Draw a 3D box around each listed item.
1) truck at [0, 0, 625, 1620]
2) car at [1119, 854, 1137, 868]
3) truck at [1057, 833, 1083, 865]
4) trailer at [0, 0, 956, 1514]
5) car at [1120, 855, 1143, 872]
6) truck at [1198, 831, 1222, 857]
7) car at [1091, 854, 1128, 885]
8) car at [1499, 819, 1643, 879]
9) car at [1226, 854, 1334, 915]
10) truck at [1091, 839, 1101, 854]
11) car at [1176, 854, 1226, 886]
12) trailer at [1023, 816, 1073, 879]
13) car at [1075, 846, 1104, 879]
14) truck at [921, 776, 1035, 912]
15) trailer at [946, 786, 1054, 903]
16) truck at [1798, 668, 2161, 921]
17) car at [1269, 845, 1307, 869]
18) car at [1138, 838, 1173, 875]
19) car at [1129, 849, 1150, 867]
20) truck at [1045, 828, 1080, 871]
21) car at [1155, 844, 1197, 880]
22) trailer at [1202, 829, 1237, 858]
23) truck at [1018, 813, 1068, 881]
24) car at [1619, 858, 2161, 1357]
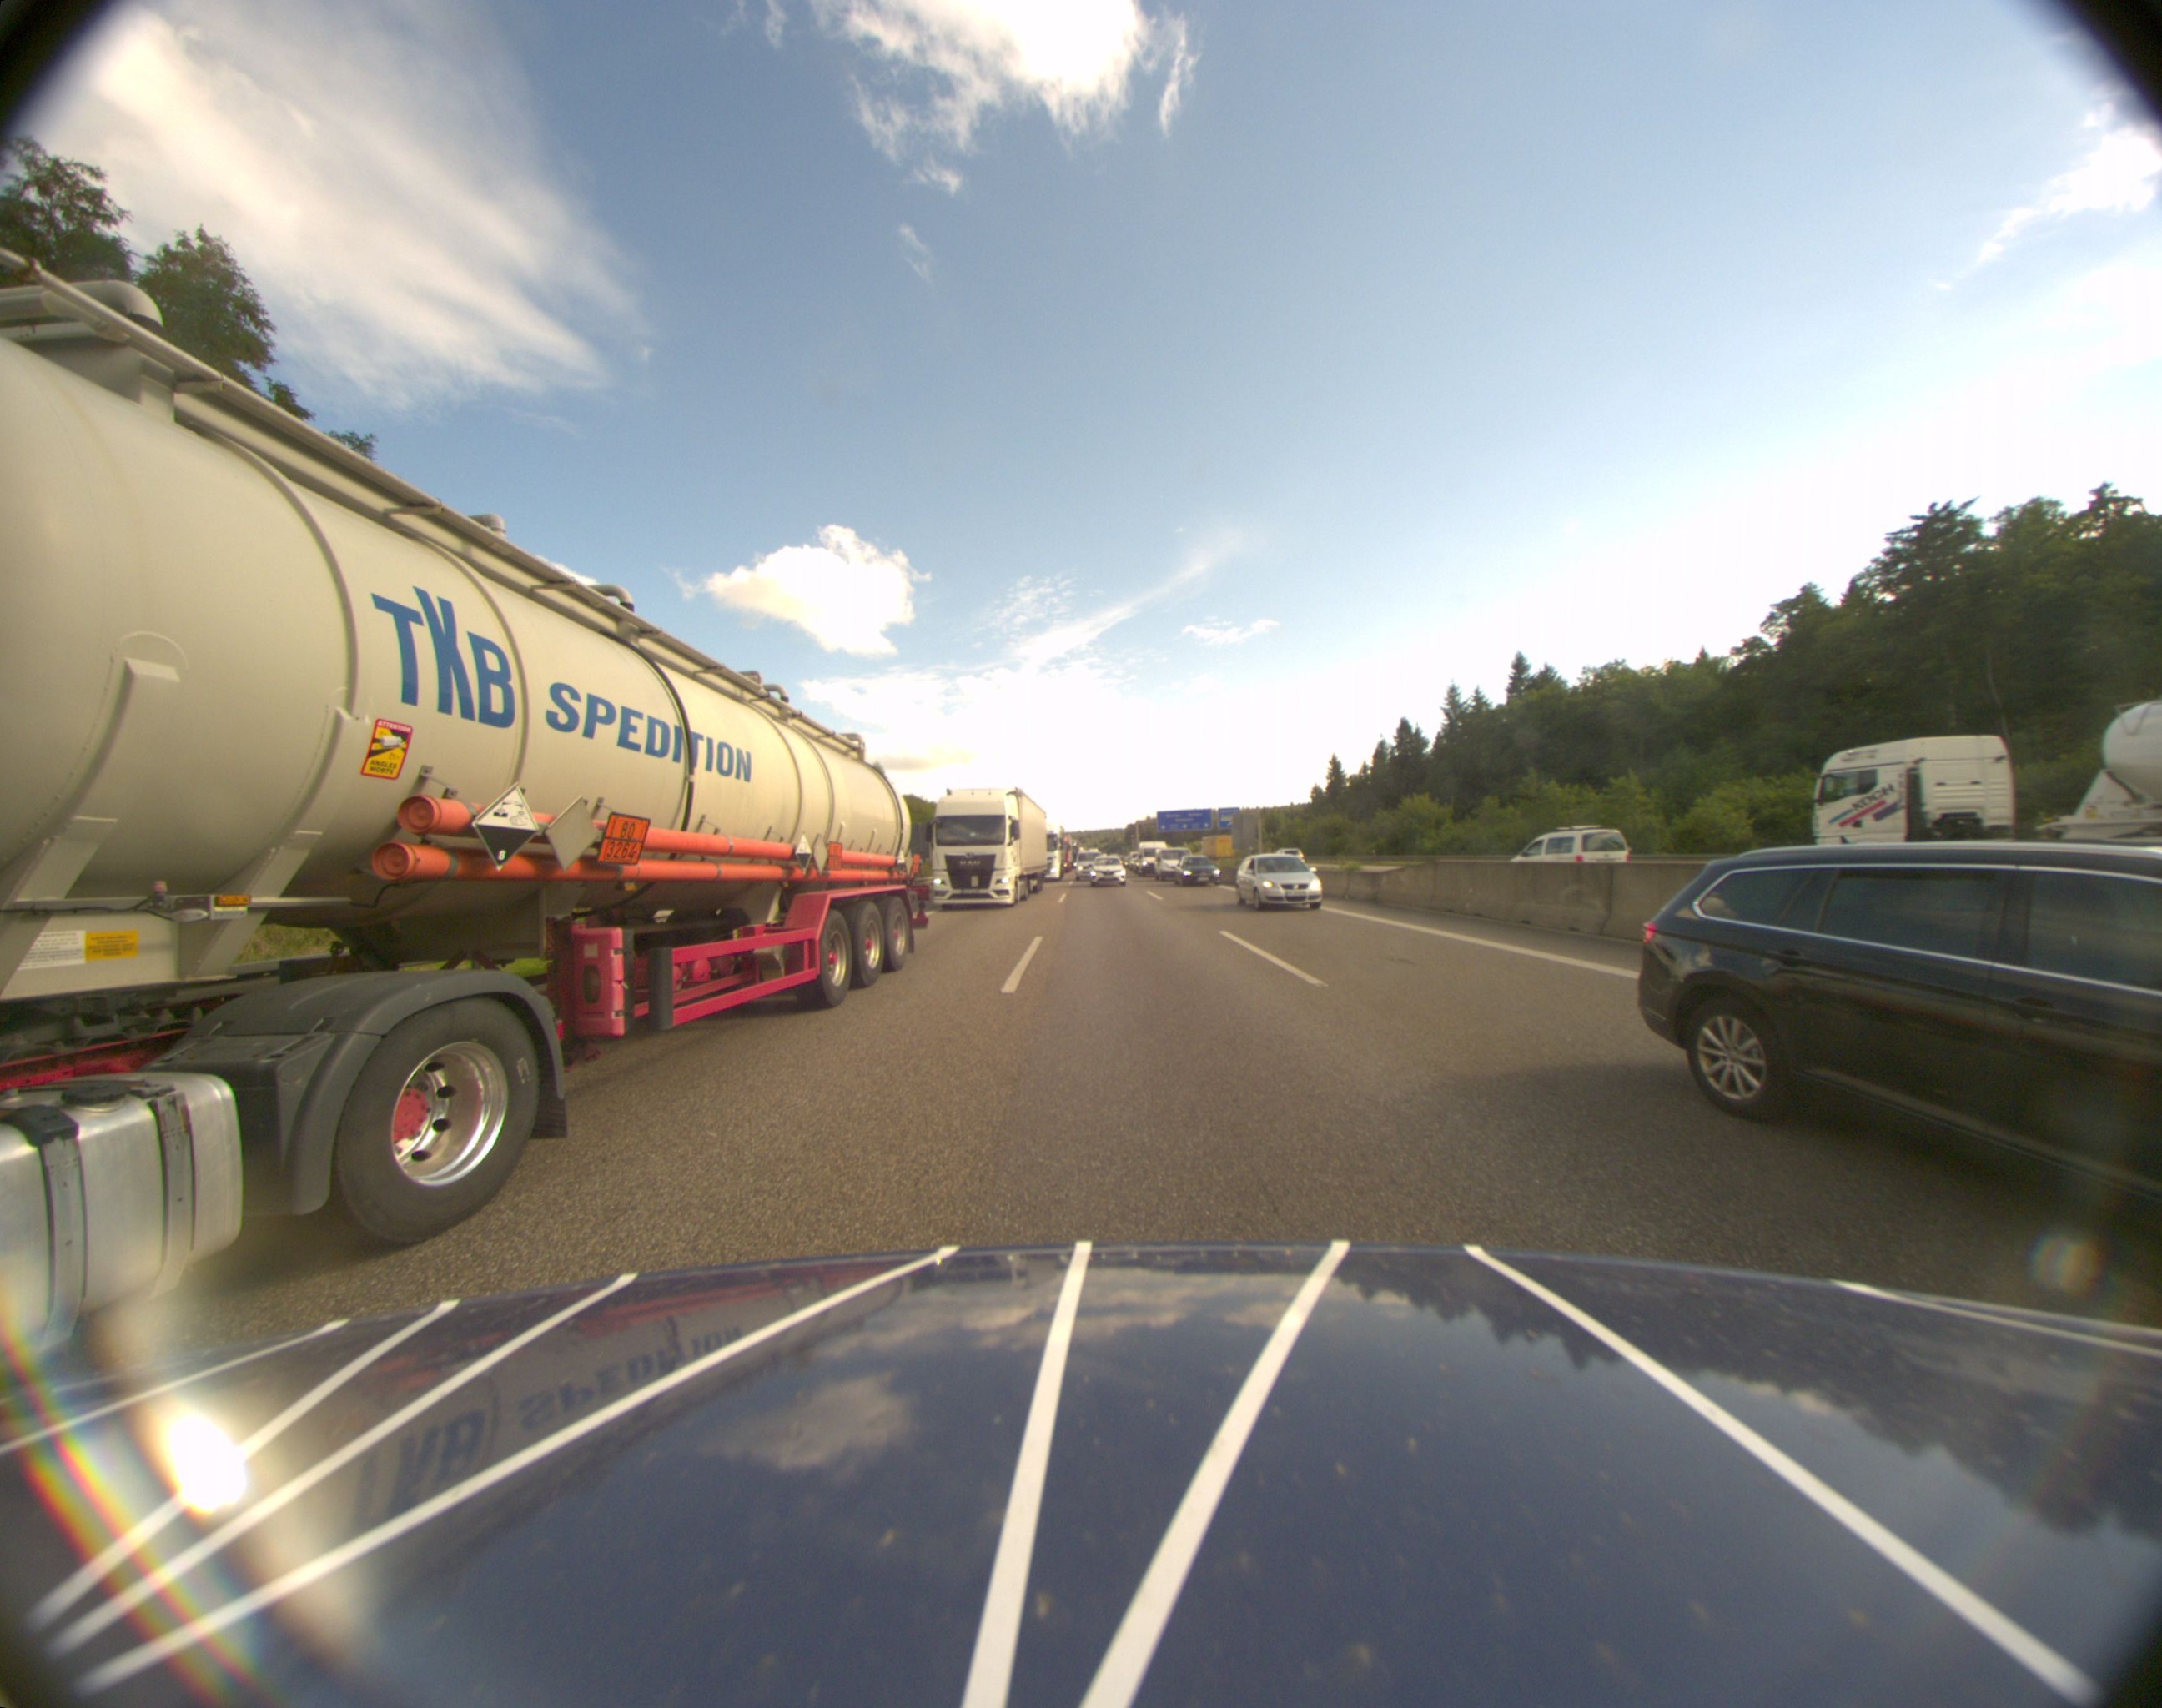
[{"bbox_3d":[-3.956,-0.209,1.069,2.809,4.020,5.904,-2,0,1],"label":"truck"},{"bbox_3d":[5.589,0.797,90.967,1.920,1.535,3.811,-2,0,1],"label":"car"},{"bbox_3d":[-1.497,-0.757,108.101,2.840,4.178,12.045,-2,1,2],"label":"truck"},{"bbox_3d":[-3.772,-0.269,7.571,2.805,4.003,11.182,-2,0,2],"label":"trailer"},{"bbox_3d":[4.638,0.841,70.141,1.809,1.423,3.660,-2,0,1],"label":"car"},{"bbox_3d":[21.311,-1.656,125.598,2.841,4.178,6.078,-2,1,0],"label":"truck"},{"bbox_3d":[1.477,0.799,40.390,1.809,1.487,4.666,-2,0,1],"label":"car"},{"bbox_3d":[15.748,-0.164,24.746,1.857,1.702,4.323,-2,0,0],"label":"car"},{"bbox_3d":[5.392,0.765,21.227,1.809,1.423,4.666,-2,0,1],"label":"car"},{"bbox_3d":[4.697,-2.316,235.191,2.840,4.178,12.045,-2,1,2],"label":"truck"},{"bbox_3d":[5.769,0.731,36.932,1.809,1.423,3.994,-2,0,1],"label":"car"},{"bbox_3d":[-2.303,-0.468,58.407,2.841,4.177,13.613,-2,0,1],"label":"trailer"},{"bbox_3d":[0.565,0.519,51.449,1.809,2.052,4.770,-2,0,1],"label":"car"},{"bbox_3d":[-3.304,-0.322,25.878,2.841,4.048,5.707,-2,0,1],"label":"truck"},{"bbox_3d":[-3.091,-0.366,33.436,2.833,4.047,13.372,-2,0,2],"label":"trailer"},{"bbox_3d":[19.970,-1.057,12.590,2.940,4.329,13.908,-2,1,0],"label":"truck"},{"bbox_3d":[16.779,0.214,61.697,1.857,1.799,4.323,-2,0,0],"label":"car"},{"bbox_3d":[5.468,0.157,56.309,2.054,2.557,5.861,-1,0,1],"label":"car"},{"bbox_3d":[6.316,0.441,82.056,1.920,1.785,3.811,-2,0,1],"label":"car"},{"bbox_3d":[-1.863,-0.519,82.686,2.840,4.178,12.045,-2,1,2],"label":"truck"},{"bbox_3d":[5.677,0.455,46.124,1.947,1.953,4.848,-2,0,1],"label":"car"},{"bbox_3d":[21.271,-1.571,117.820,2.841,4.178,13.560,-2,1,0],"label":"trailer"},{"bbox_3d":[-2.454,-0.443,51.169,2.841,4.177,5.707,-2,0,1],"label":"truck"},{"bbox_3d":[4.294,0.795,2.523,1.915,1.469,4.569,-2,0,3],"label":"car"}]
